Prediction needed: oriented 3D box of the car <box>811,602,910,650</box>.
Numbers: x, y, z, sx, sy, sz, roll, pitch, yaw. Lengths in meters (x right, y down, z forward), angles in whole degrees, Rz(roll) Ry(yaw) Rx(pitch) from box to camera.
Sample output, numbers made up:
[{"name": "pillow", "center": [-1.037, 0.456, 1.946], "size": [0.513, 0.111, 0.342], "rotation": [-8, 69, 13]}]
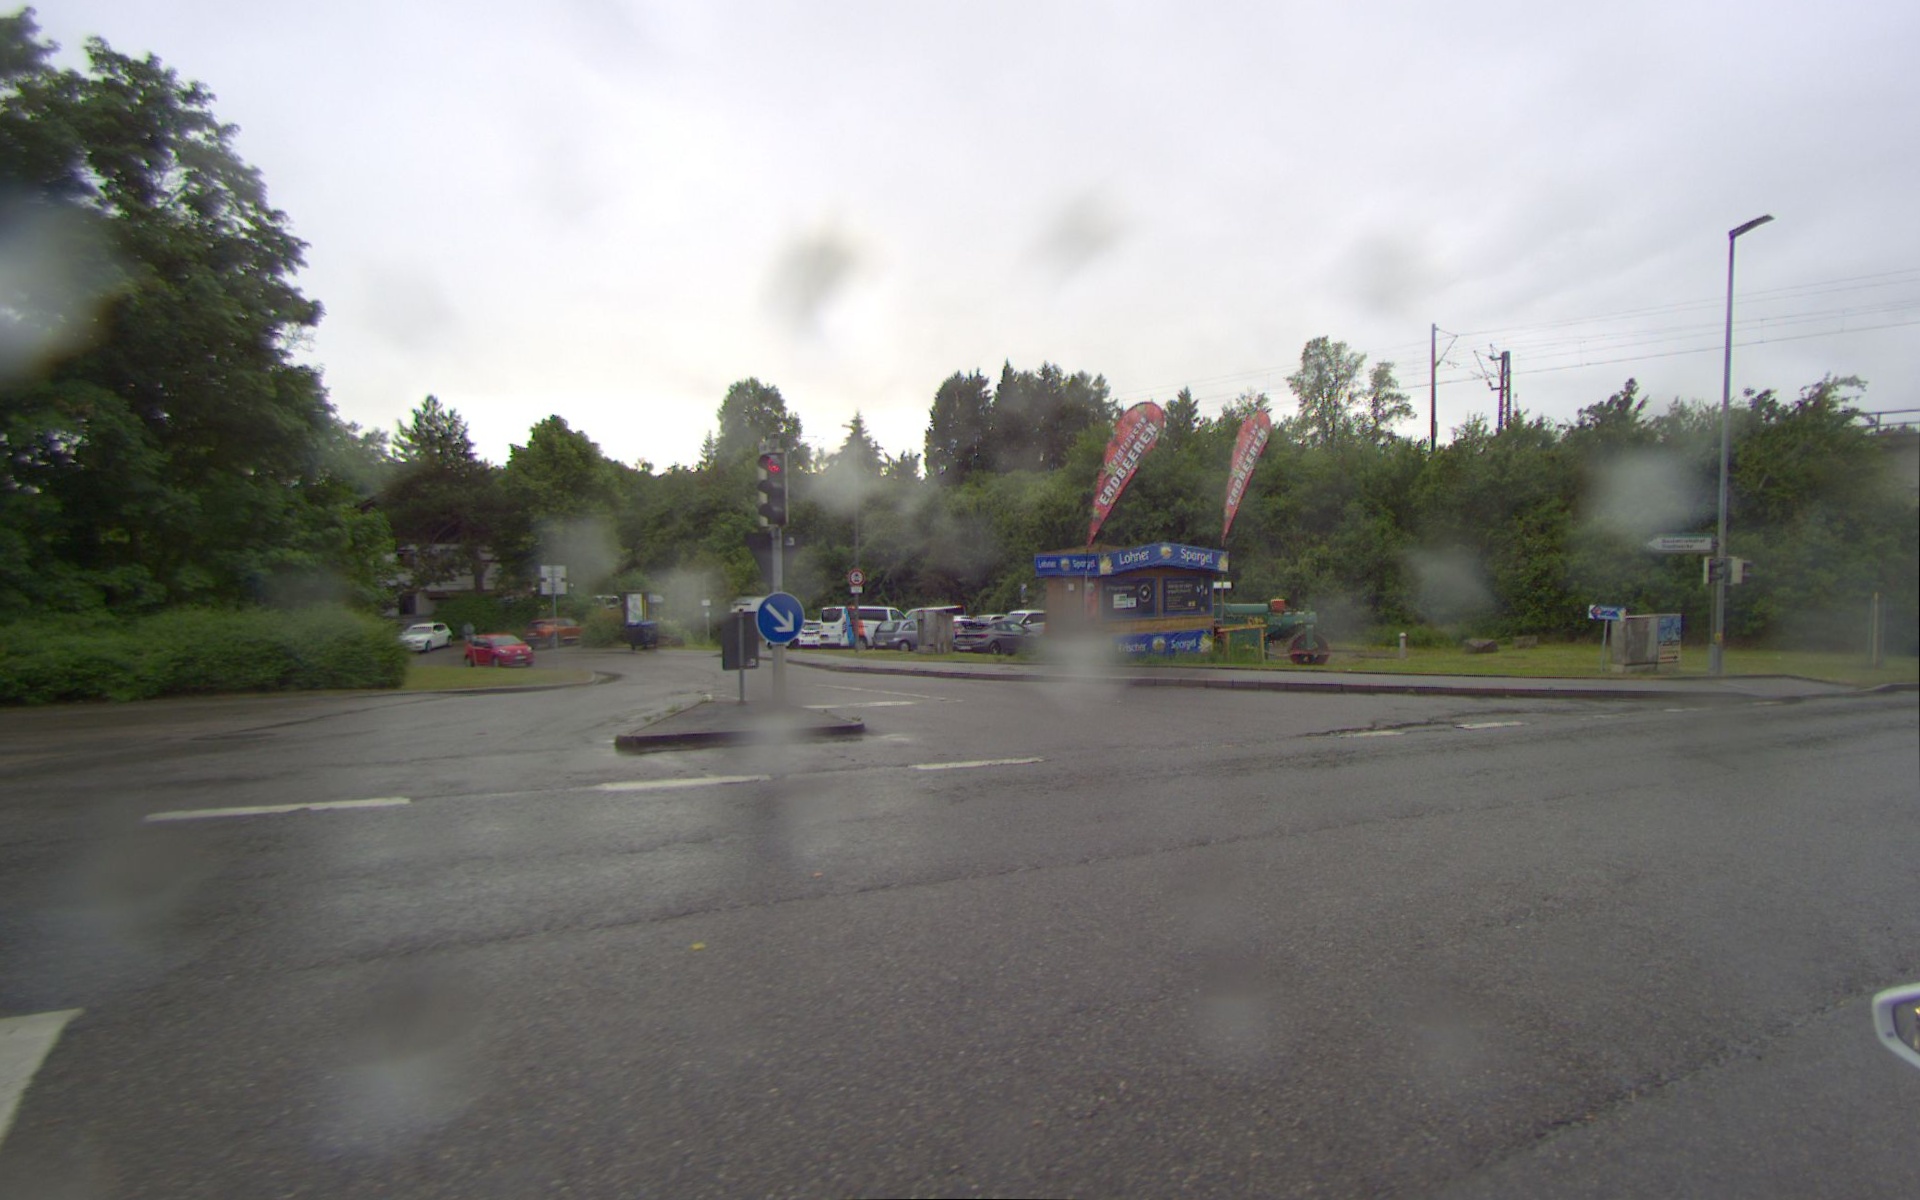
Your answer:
[{"name": "car", "center": [-4.324, 1.150, 43.966], "size": [1.971, 1.974, 3.979], "rotation": [2, -1, 42]}]

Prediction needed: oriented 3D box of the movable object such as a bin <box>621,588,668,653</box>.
[{"name": "movable object such as a bin", "center": [-16.212, 1.049, 51.629], "size": [1.765, 3.192, 1.304], "rotation": [2, -1, 28]}]

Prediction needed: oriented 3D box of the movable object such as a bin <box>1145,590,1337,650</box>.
[{"name": "movable object such as a bin", "center": [8.892, 0.647, 32.404], "size": [5.663, 1.649, 2.753], "rotation": [2, -1, 10]}]

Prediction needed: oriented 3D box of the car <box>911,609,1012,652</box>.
[{"name": "car", "center": [0.089, 1.275, 41.161], "size": [3.880, 1.606, 1.918], "rotation": [3, -1, -43]}]

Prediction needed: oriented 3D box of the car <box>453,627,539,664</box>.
[{"name": "car", "center": [-20.567, 1.993, 44.455], "size": [3.931, 1.421, 1.547], "rotation": [2, -1, 32]}]

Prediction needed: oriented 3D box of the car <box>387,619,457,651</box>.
[{"name": "car", "center": [-29.875, 1.923, 55.903], "size": [1.962, 1.606, 3.997], "rotation": [2, -1, -5]}]

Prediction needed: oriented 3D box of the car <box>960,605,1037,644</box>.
[{"name": "car", "center": [2.105, 1.331, 54.364], "size": [3.973, 2.040, 1.974], "rotation": [2, -2, -44]}]

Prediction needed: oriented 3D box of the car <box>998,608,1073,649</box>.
[{"name": "car", "center": [3.975, 1.465, 52.483], "size": [1.916, 2.040, 3.846], "rotation": [2, 0, 43]}]

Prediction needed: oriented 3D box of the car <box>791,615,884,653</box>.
[{"name": "car", "center": [-5.550, 1.587, 45.902], "size": [1.834, 1.606, 3.979], "rotation": [2, -1, 42]}]

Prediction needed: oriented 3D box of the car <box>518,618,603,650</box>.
[{"name": "car", "center": [-21.774, 1.845, 54.909], "size": [1.963, 1.606, 3.995], "rotation": [2, -1, 28]}]

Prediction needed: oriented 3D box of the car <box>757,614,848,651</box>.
[{"name": "car", "center": [-7.465, 1.560, 47.798], "size": [1.813, 1.606, 3.979], "rotation": [2, -1, 42]}]

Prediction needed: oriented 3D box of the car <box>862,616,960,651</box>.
[{"name": "car", "center": [-2.064, 1.432, 42.718], "size": [3.972, 1.327, 1.734], "rotation": [3, -1, -43]}]

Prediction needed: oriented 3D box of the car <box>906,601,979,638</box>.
[{"name": "car", "center": [-1.004, 1.100, 57.777], "size": [1.972, 2.040, 3.976], "rotation": [1, -1, 44]}]
